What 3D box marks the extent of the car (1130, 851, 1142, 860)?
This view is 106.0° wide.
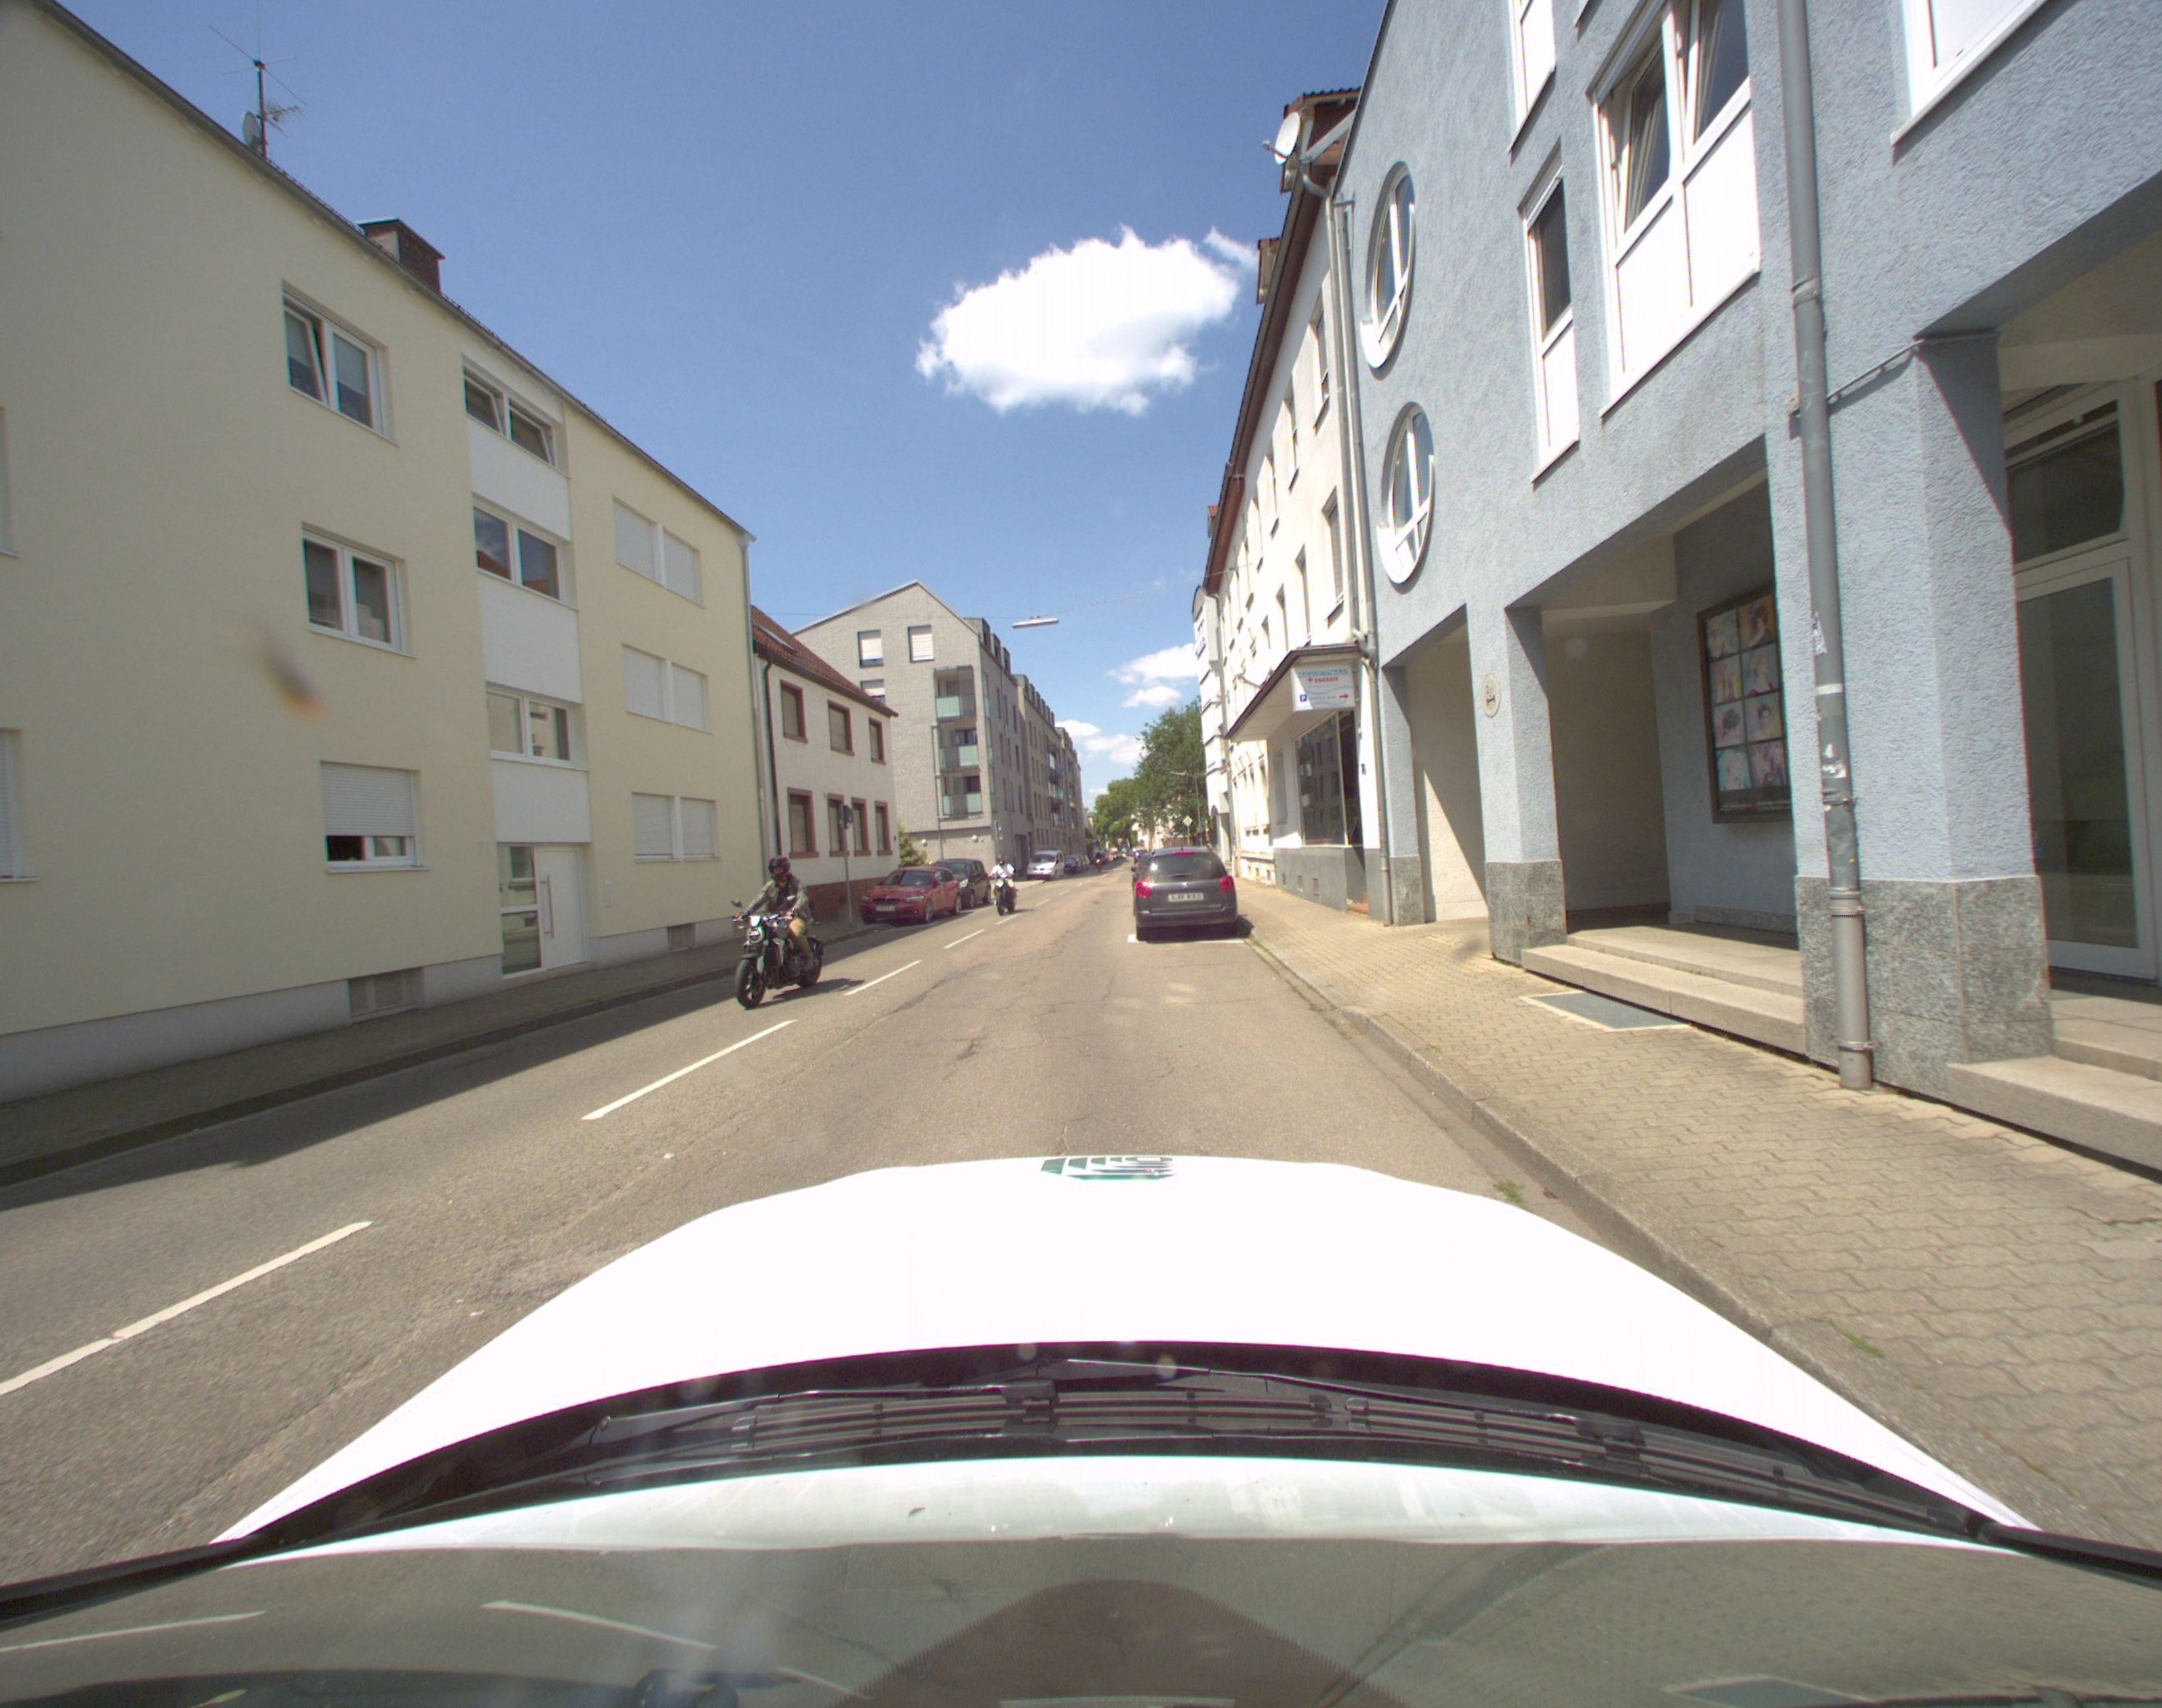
[{"bbox_3d":[11.054,0.315,162.906,1.988,1.618,3.998,-3,0,-1],"label":"car"}]

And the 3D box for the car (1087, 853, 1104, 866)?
[{"bbox_3d":[1.731,0.690,97.887,1.725,1.442,4.004,-3,0,4],"label":"car"}]

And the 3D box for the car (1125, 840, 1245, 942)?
[{"bbox_3d":[1.732,0.580,14.722,1.703,1.508,4.002,-3,0,2],"label":"car"}]

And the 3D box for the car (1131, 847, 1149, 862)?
[{"bbox_3d":[6.077,0.060,83.752,1.707,1.402,4.006,-3,0,5],"label":"car"}]

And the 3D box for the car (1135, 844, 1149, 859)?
[{"bbox_3d":[8.842,-0.371,117.157,1.830,2.013,4.006,-3,0,5],"label":"car"}]

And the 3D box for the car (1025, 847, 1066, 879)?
[{"bbox_3d":[-2.142,0.522,50.383,1.747,1.892,4.347,-1,0,8],"label":"car"}]

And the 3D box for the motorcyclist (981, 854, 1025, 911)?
[{"bbox_3d":[-2.126,0.767,22.369,0.912,1.480,1.204,-3,0,5],"label":"motorcyclist"}]

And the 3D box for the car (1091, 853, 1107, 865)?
[{"bbox_3d":[2.281,0.633,103.074,1.725,1.442,4.004,-3,0,4],"label":"car"}]

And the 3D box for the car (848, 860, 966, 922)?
[{"bbox_3d":[-4.680,0.950,22.641,1.824,1.416,4.298,-3,0,7],"label":"car"}]

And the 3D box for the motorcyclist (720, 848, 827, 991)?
[{"bbox_3d":[-3.782,0.767,10.094,0.709,1.634,1.071,-4,0,8],"label":"motorcyclist"}]

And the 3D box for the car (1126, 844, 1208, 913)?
[{"bbox_3d":[2.064,0.531,20.122,1.721,1.420,4.550,-3,0,4],"label":"car"}]

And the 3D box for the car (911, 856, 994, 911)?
[{"bbox_3d":[-4.246,0.926,27.519,1.786,1.646,3.951,-2,0,5],"label":"car"}]

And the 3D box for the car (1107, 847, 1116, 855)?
[{"bbox_3d":[8.618,-0.864,227.506,2.151,2.013,3.996,-3,0,-2],"label":"car"}]

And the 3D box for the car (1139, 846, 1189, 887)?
[{"bbox_3d":[3.051,0.430,30.441,1.612,1.385,3.541,-3,0,3],"label":"car"}]

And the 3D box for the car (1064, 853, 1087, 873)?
[{"bbox_3d":[-0.412,0.706,68.150,1.583,1.554,3.575,-3,0,4],"label":"car"}]

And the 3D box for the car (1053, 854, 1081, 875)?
[{"bbox_3d":[-1.046,0.777,62.702,1.714,1.456,4.012,-2,0,6],"label":"car"}]

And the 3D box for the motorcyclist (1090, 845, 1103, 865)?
[{"bbox_3d":[1.212,0.101,64.671,0.818,1.509,1.059,-3,0,7],"label":"motorcyclist"}]

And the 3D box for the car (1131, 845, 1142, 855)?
[{"bbox_3d":[9.492,-0.670,140.039,1.704,1.634,3.707,-3,0,3],"label":"car"}]

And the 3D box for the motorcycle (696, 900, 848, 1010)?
[{"bbox_3d":[-3.750,1.185,10.147,0.709,1.028,2.245,-4,0,8],"label":"motorcycle"}]

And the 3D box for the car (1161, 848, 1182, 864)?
[{"bbox_3d":[8.891,0.176,80.276,1.685,1.420,4.004,-6,0,4],"label":"car"}]

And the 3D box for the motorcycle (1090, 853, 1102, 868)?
[{"bbox_3d":[1.209,0.489,64.637,0.684,1.122,2.032,-3,0,7],"label":"motorcycle"}]

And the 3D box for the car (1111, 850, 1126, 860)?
[{"bbox_3d":[5.771,0.152,124.286,1.983,1.381,4.401,-1,0,6],"label":"car"}]

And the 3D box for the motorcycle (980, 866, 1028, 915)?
[{"bbox_3d":[-2.081,0.974,22.401,0.892,1.176,2.211,-3,0,5],"label":"motorcycle"}]
